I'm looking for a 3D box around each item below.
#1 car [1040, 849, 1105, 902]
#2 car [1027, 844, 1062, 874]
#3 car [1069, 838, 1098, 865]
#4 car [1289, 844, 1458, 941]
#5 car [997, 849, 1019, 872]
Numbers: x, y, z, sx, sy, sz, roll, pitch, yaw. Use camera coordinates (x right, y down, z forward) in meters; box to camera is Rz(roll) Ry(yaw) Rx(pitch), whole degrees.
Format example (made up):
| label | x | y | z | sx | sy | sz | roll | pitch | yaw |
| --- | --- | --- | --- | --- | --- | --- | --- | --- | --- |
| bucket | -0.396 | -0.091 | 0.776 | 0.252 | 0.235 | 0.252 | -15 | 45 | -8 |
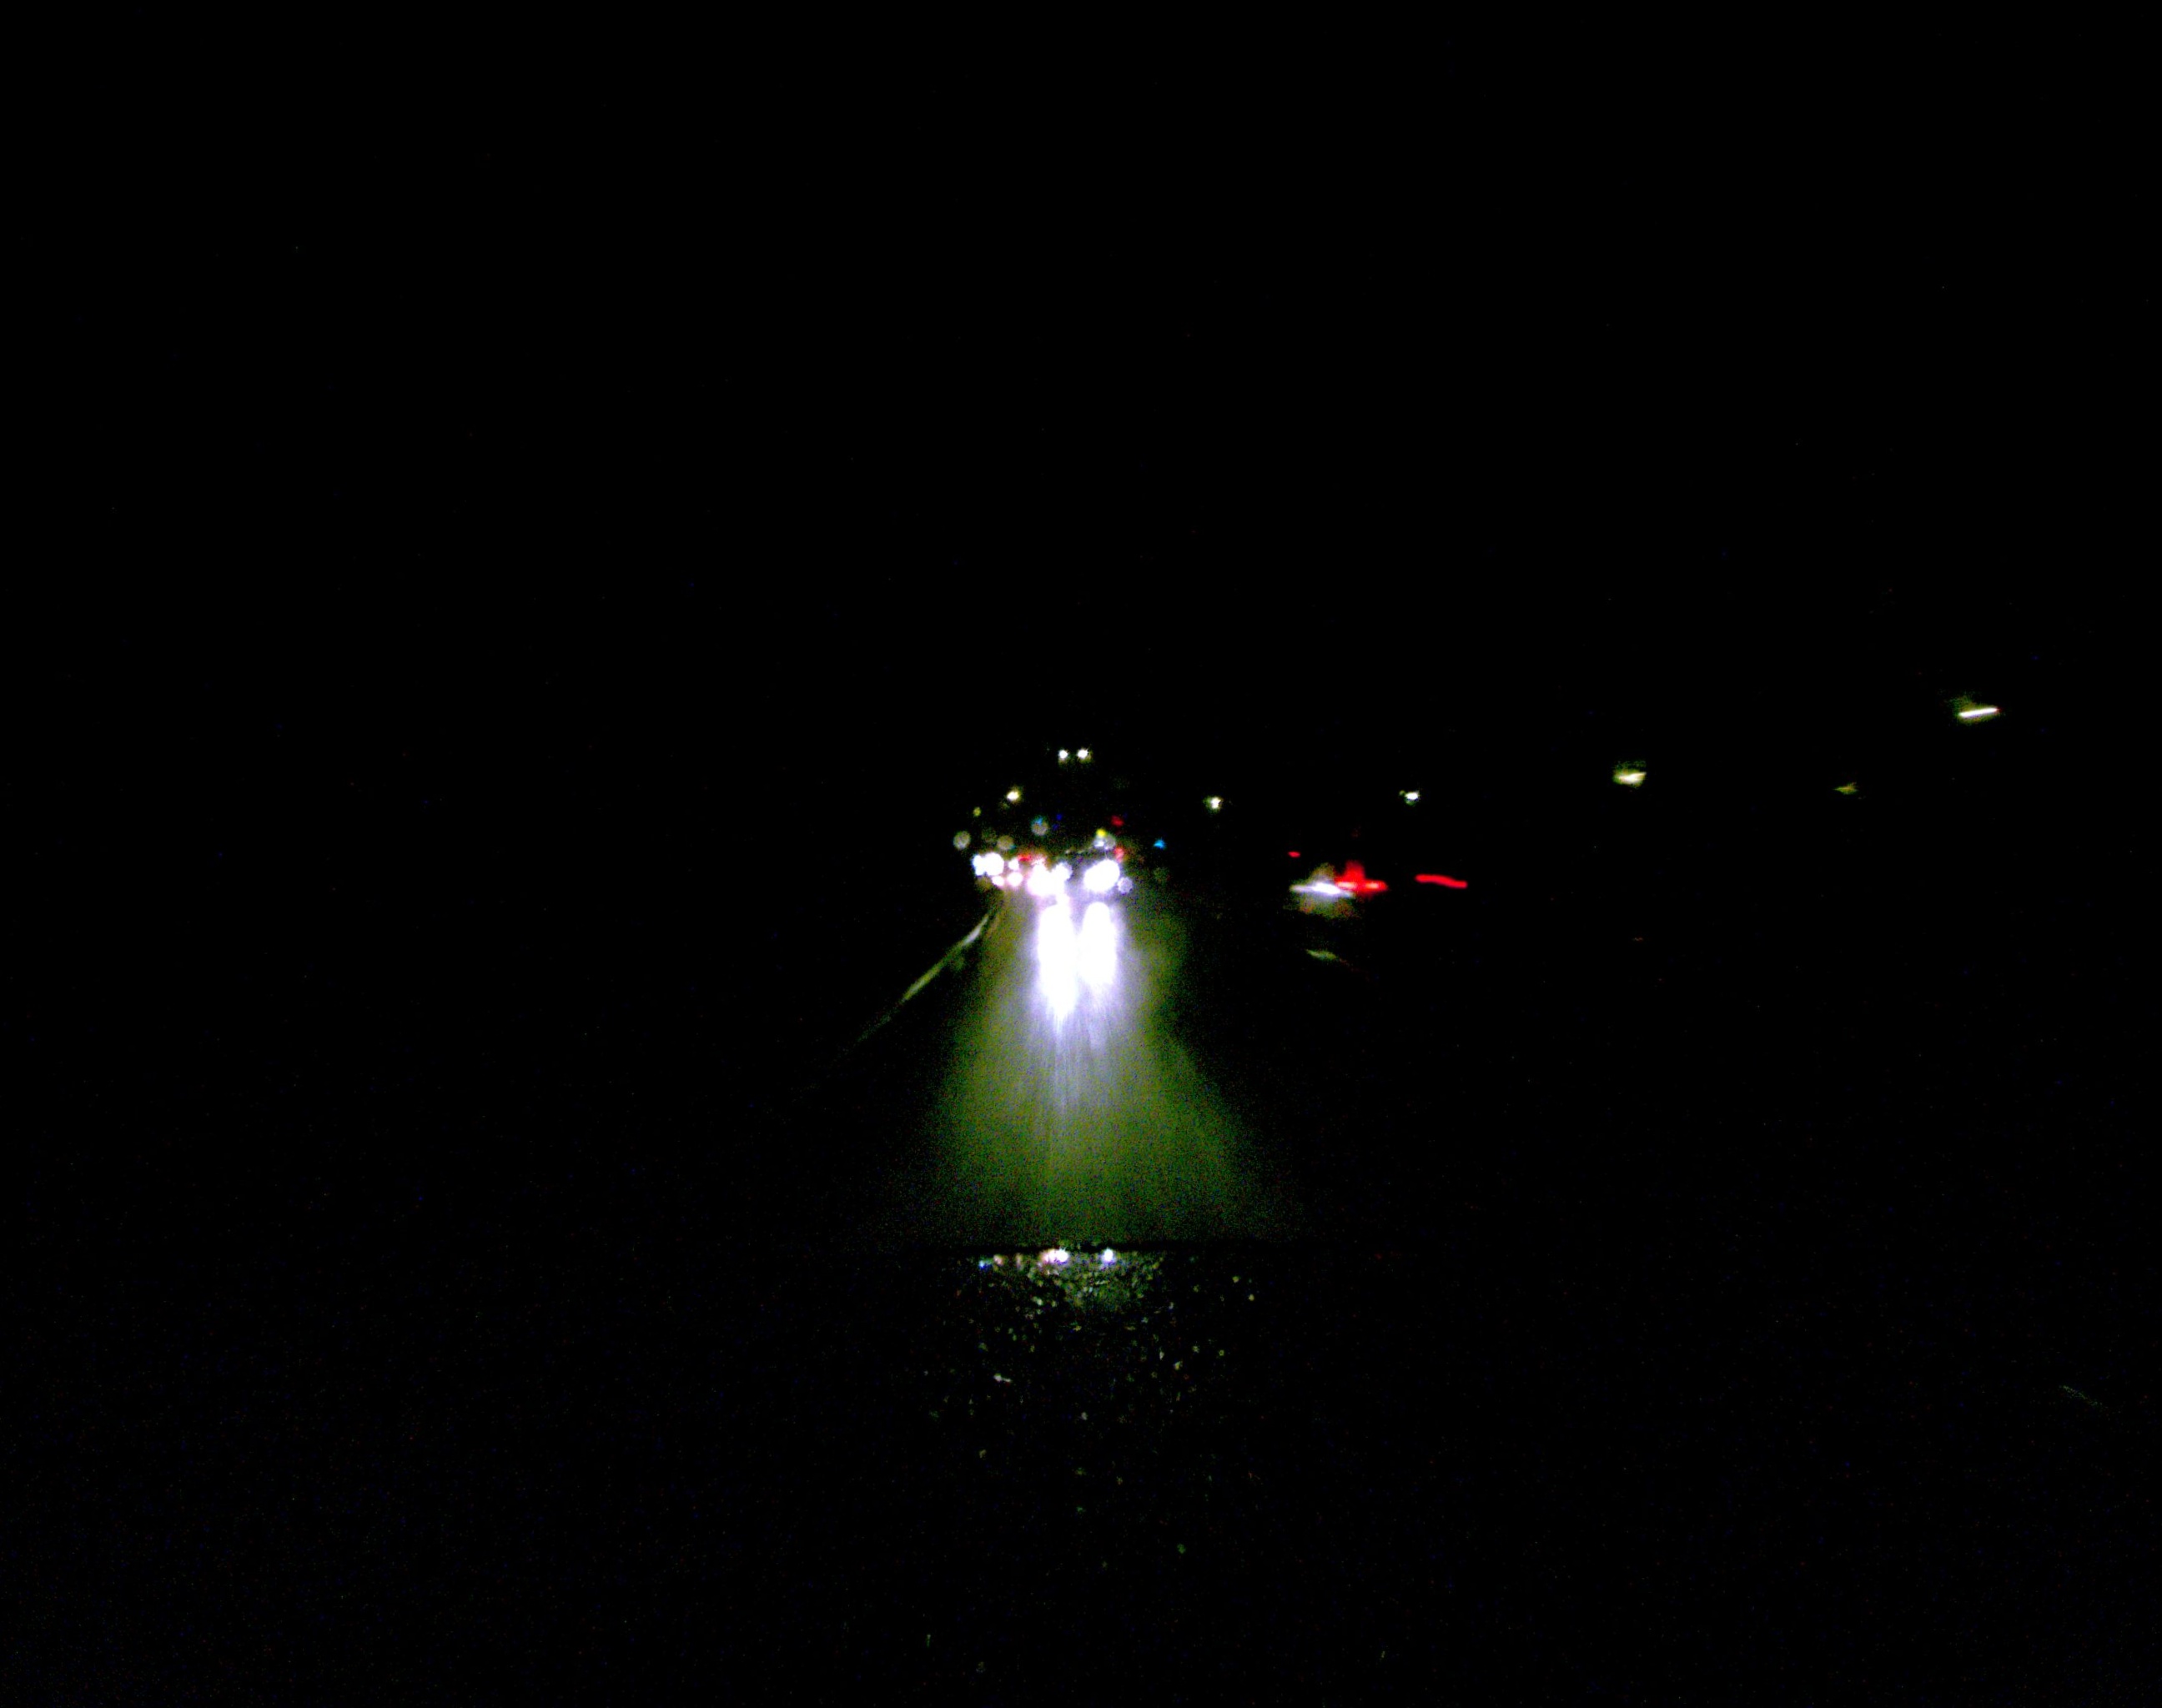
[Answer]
| label | x | y | z | sx | sy | sz | roll | pitch | yaw |
| --- | --- | --- | --- | --- | --- | --- | --- | --- | --- |
| car | -0.324 | 0.679 | 26.256 | 1.999 | 1.585 | 4.607 | -1 | 1 | -1 |
| car | -2.559 | 0.327 | 54.477 | 1.898 | 2.002 | 4.001 | -2 | 1 | 5 |
| car | 0.263 | -0.227 | 60.850 | 1.998 | 2.002 | 4.000 | -2 | 1 | 4 |
| car | 5.205 | 0.591 | 14.064 | 1.656 | 1.483 | 3.859 | -2 | 1 | 1 |
| car | -6.047 | 0.507 | 63.343 | 1.709 | 1.762 | 3.998 | -2 | 1 | -4 |
